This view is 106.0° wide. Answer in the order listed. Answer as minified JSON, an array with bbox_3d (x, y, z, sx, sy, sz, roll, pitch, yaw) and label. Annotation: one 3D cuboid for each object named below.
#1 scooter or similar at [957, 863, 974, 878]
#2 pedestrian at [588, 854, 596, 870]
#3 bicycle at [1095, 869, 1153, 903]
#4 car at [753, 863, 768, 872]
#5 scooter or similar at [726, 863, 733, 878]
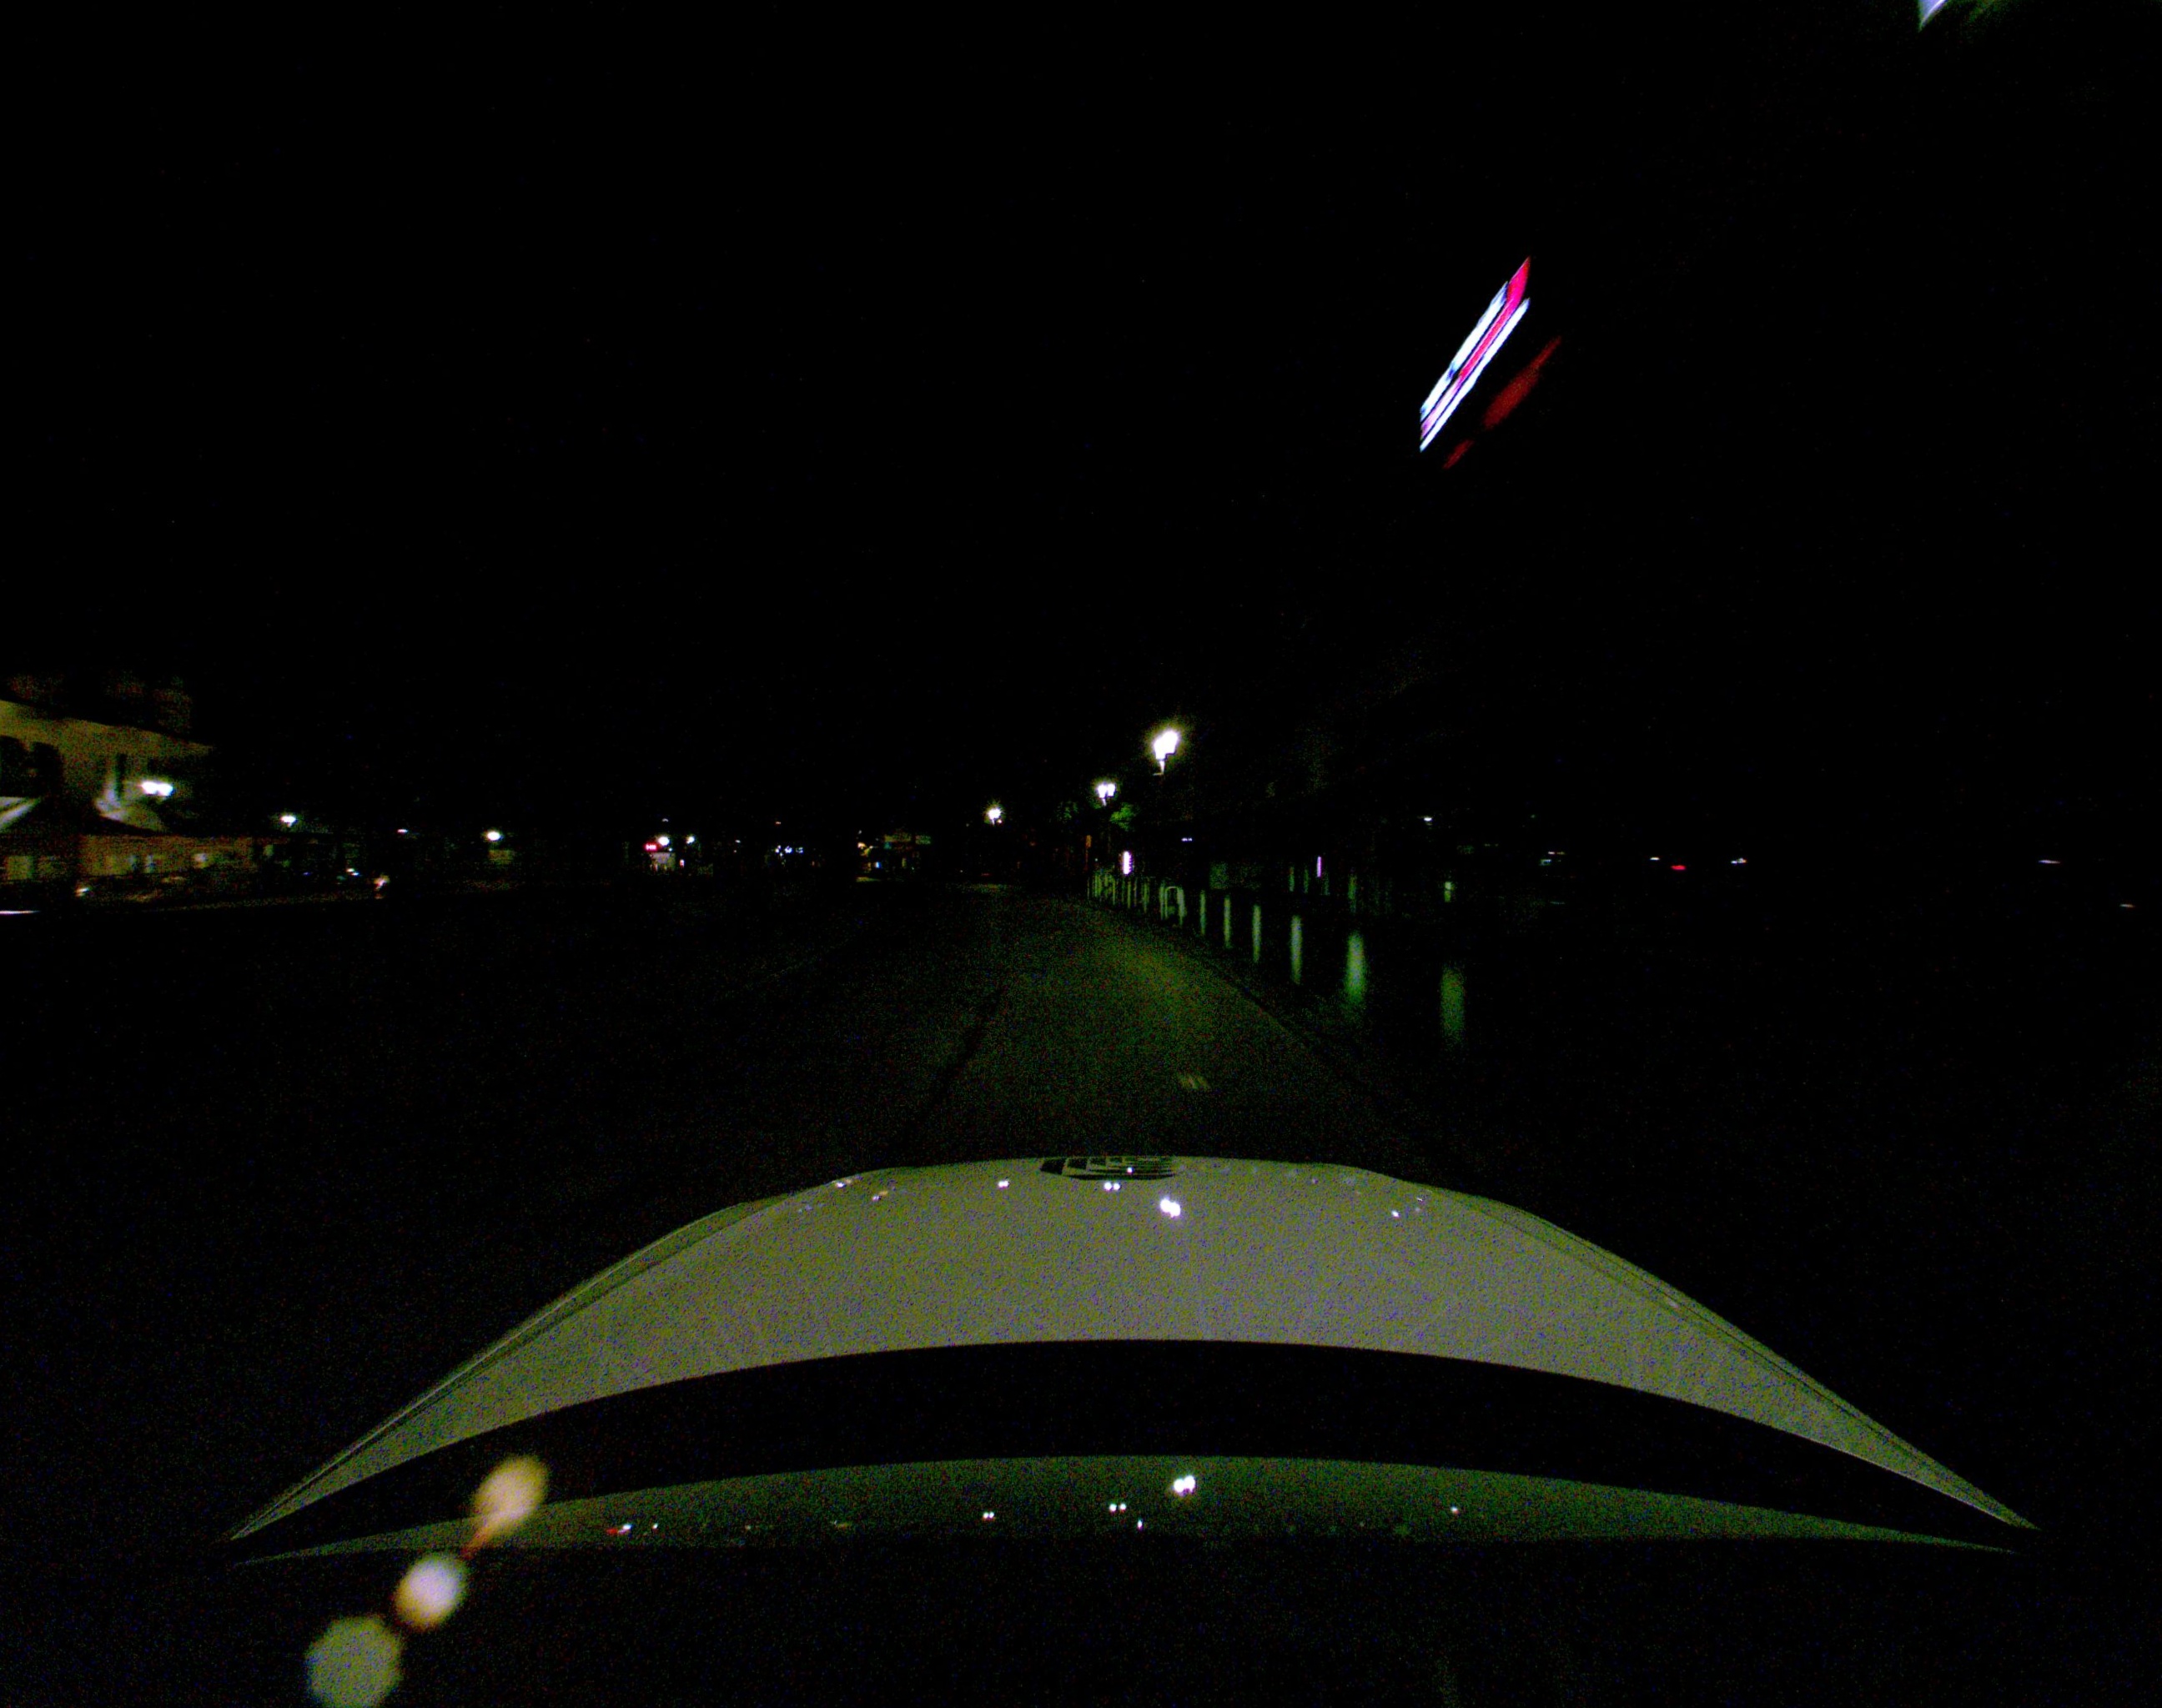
[{"bbox_3d":[-9.854,1.368,69.330,1.252,1.227,0.593,2,0,-25],"label":"scooter or similar"},{"bbox_3d":[-47.284,0.803,78.701,0.475,1.546,0.463,0,0,29],"label":"pedestrian"},{"bbox_3d":[1.395,1.016,26.294,1.756,1.062,0.651,1,0,-22],"label":"bicycle"},{"bbox_3d":[-55.296,2.320,140.469,1.721,1.547,3.504,-1,1,-32],"label":"car"},{"bbox_3d":[-30.563,1.459,70.784,0.433,1.284,1.135,-1,0,-31],"label":"scooter or similar"}]
